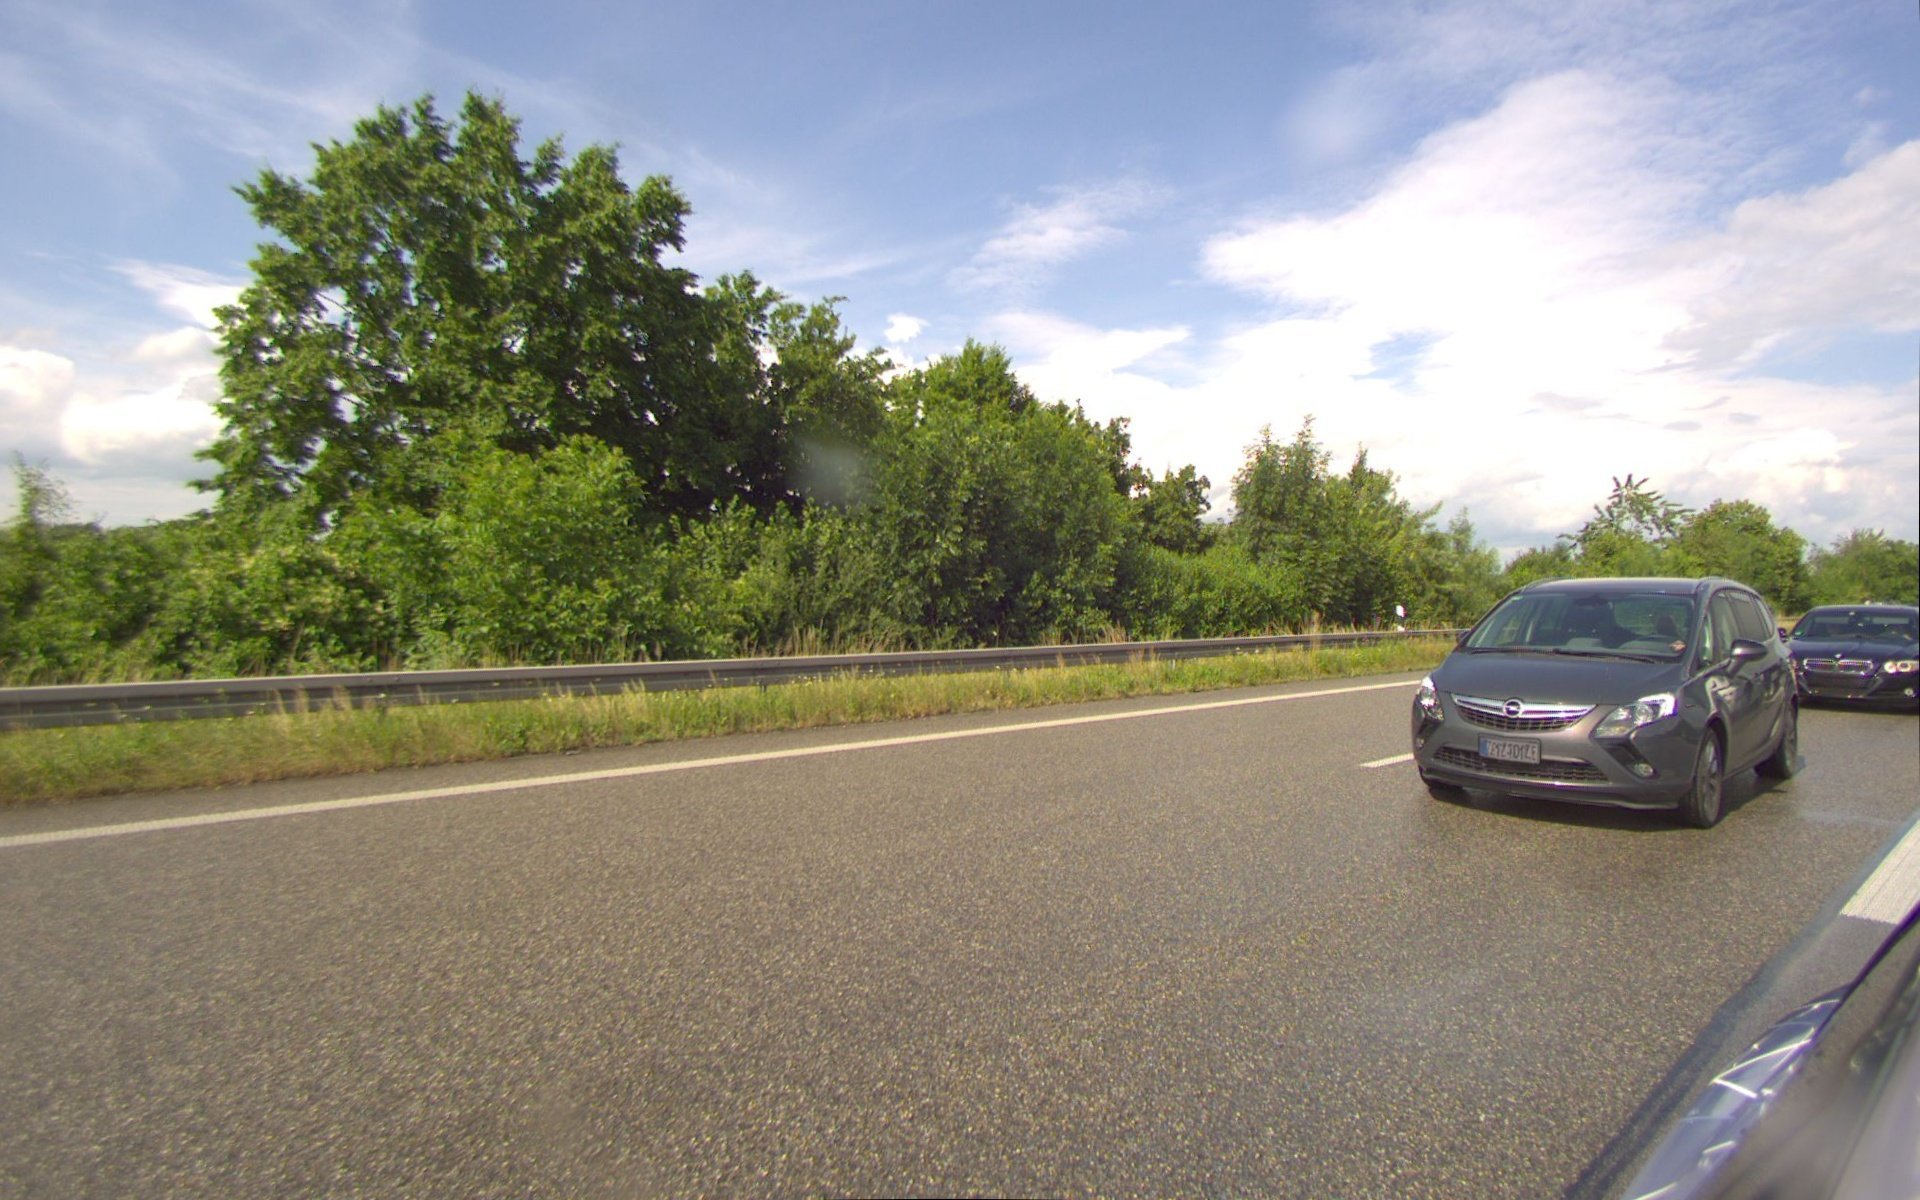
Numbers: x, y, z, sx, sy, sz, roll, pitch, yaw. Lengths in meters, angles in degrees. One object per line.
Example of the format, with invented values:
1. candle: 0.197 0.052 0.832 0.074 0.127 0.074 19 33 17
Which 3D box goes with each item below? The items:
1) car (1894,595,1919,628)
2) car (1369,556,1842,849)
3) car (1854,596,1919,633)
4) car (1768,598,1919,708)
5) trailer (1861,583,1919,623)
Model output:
1. car: 46.242 0.543 48.705 3.421 1.507 1.614 0 1 -42
2. car: 5.246 0.564 7.935 4.652 1.652 1.857 0 0 -40
3. car: 39.126 0.588 42.676 4.330 1.449 1.745 0 1 -43
4. car: 13.085 0.675 14.483 3.816 1.371 1.721 0 0 -41
5. trailer: 42.514 0.129 46.066 3.900 1.768 1.808 0 0 -42
